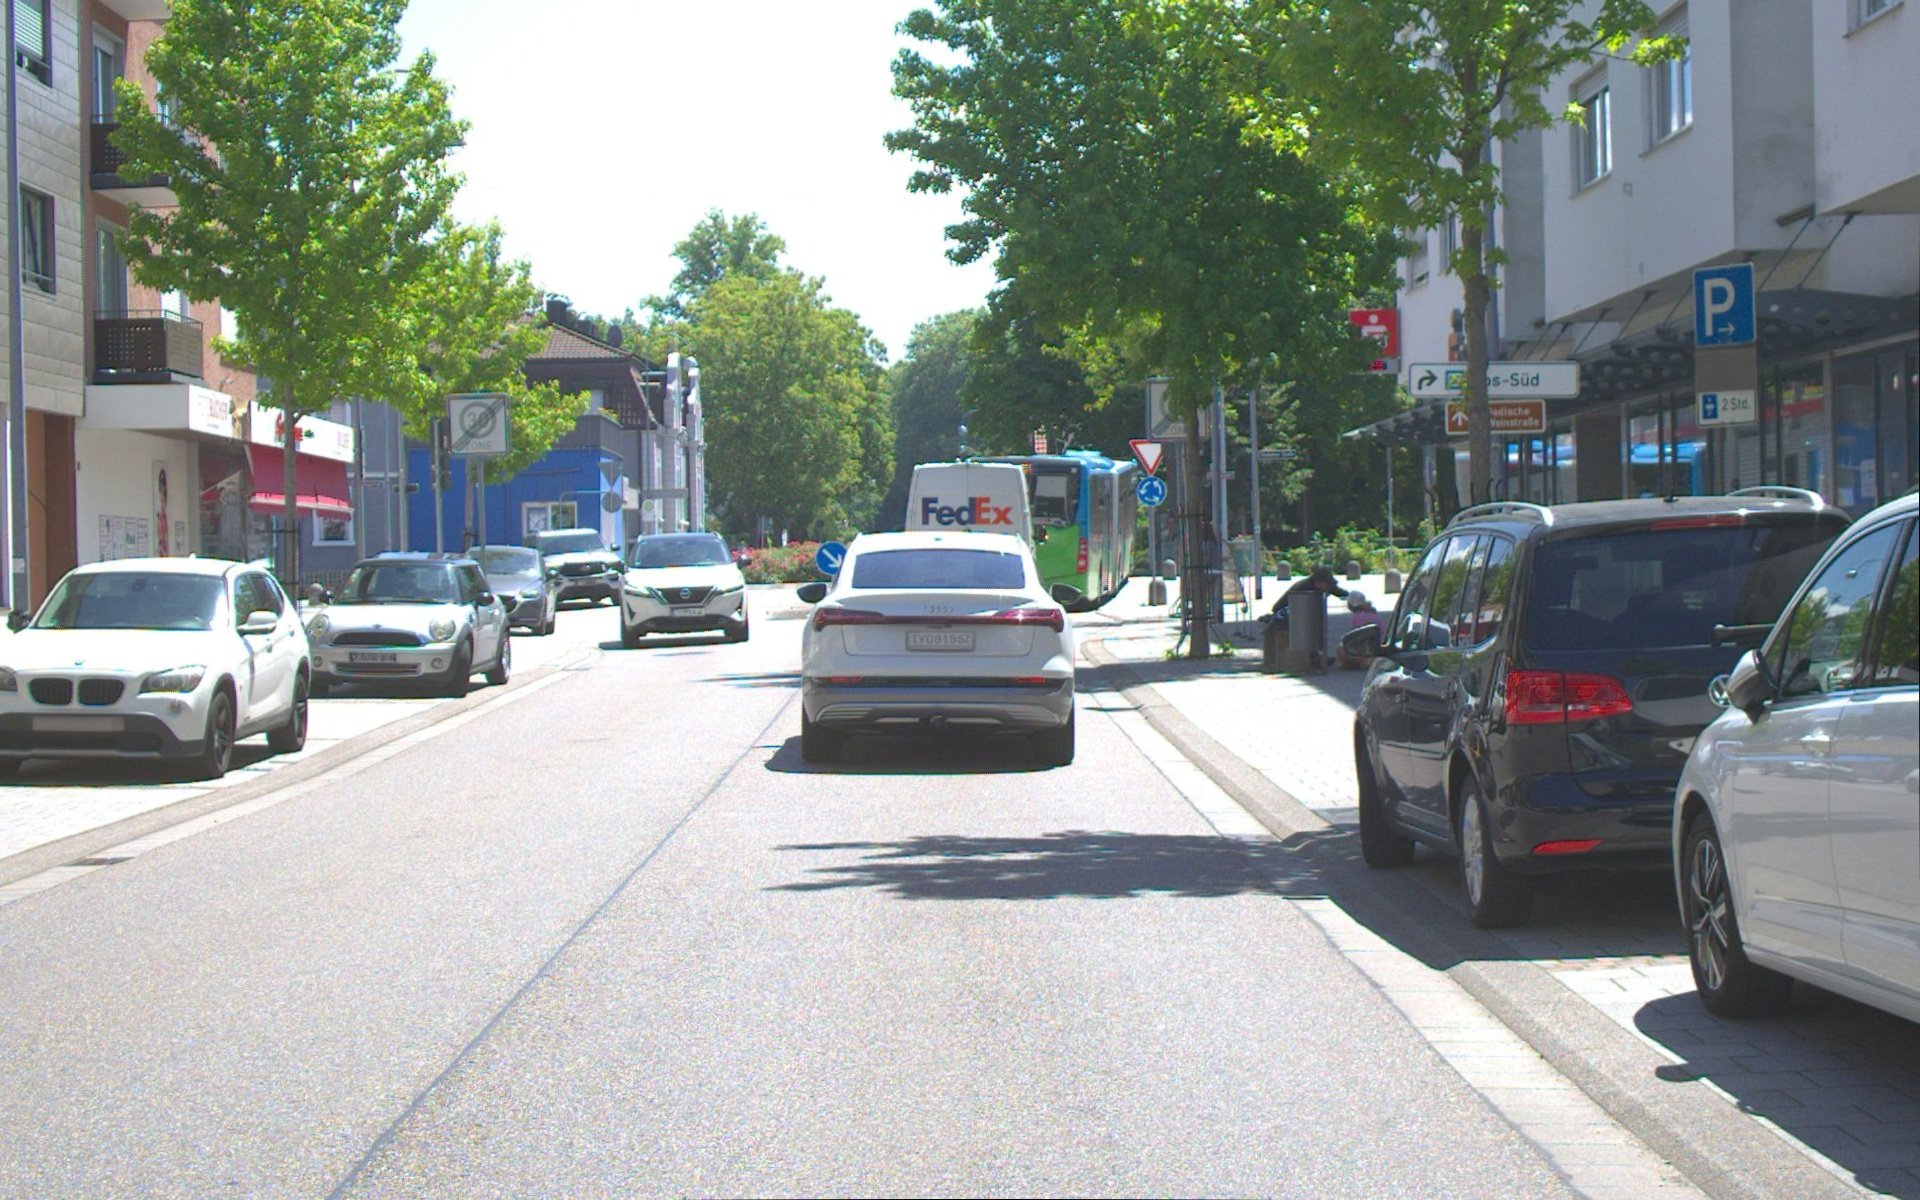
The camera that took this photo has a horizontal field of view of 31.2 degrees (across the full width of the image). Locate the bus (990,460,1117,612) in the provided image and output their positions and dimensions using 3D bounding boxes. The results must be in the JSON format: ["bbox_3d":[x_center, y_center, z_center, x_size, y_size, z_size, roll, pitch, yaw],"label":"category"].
[{"bbox_3d":[2.095,-1.411,77.250,2.661,3.199,7.451,1,1,2],"label":"bus"}]

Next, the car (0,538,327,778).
[{"bbox_3d":[-6.100,0.369,25.890,1.752,1.612,4.401,2,1,1],"label":"car"}]

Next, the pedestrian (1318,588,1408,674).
[{"bbox_3d":[4.220,0.320,36.020,0.906,0.876,0.648,-1,1,5],"label":"pedestrian"}]

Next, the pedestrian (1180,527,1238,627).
[{"bbox_3d":[3.765,-0.345,51.932,0.717,1.497,0.582,-1,1,20],"label":"pedestrian"}]

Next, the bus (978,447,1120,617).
[{"bbox_3d":[1.853,-1.347,69.878,2.661,3.210,7.301,1,0,2],"label":"bus"}]

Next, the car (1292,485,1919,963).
[{"bbox_3d":[2.703,0.409,14.743,1.855,1.669,4.537,-2,1,-3],"label":"car"}]

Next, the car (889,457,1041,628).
[{"bbox_3d":[0.075,-0.854,52.631,2.156,2.433,5.283,1,0,0],"label":"car"}]

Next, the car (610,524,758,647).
[{"bbox_3d":[-4.035,-0.229,50.779,1.856,1.686,4.150,-2,1,-1],"label":"car"}]

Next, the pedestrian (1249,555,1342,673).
[{"bbox_3d":[3.557,0.145,36.492,0.906,1.232,0.648,-1,1,-1],"label":"pedestrian"}]

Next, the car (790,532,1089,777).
[{"bbox_3d":[-0.185,0.342,25.199,1.993,1.627,4.000,1,1,-1],"label":"car"}]

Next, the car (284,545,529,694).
[{"bbox_3d":[-5.839,0.166,36.755,1.752,1.448,4.400,2,1,2],"label":"car"}]

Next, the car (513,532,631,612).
[{"bbox_3d":[-8.868,-0.649,78.317,1.864,1.751,4.001,1,0,-18],"label":"car"}]

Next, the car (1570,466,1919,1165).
[{"bbox_3d":[3.160,0.464,9.397,1.896,1.669,4.691,-2,1,-3],"label":"car"}]

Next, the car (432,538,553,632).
[{"bbox_3d":[-7.842,-0.272,57.930,1.837,1.490,4.001,-1,1,-5],"label":"car"}]
